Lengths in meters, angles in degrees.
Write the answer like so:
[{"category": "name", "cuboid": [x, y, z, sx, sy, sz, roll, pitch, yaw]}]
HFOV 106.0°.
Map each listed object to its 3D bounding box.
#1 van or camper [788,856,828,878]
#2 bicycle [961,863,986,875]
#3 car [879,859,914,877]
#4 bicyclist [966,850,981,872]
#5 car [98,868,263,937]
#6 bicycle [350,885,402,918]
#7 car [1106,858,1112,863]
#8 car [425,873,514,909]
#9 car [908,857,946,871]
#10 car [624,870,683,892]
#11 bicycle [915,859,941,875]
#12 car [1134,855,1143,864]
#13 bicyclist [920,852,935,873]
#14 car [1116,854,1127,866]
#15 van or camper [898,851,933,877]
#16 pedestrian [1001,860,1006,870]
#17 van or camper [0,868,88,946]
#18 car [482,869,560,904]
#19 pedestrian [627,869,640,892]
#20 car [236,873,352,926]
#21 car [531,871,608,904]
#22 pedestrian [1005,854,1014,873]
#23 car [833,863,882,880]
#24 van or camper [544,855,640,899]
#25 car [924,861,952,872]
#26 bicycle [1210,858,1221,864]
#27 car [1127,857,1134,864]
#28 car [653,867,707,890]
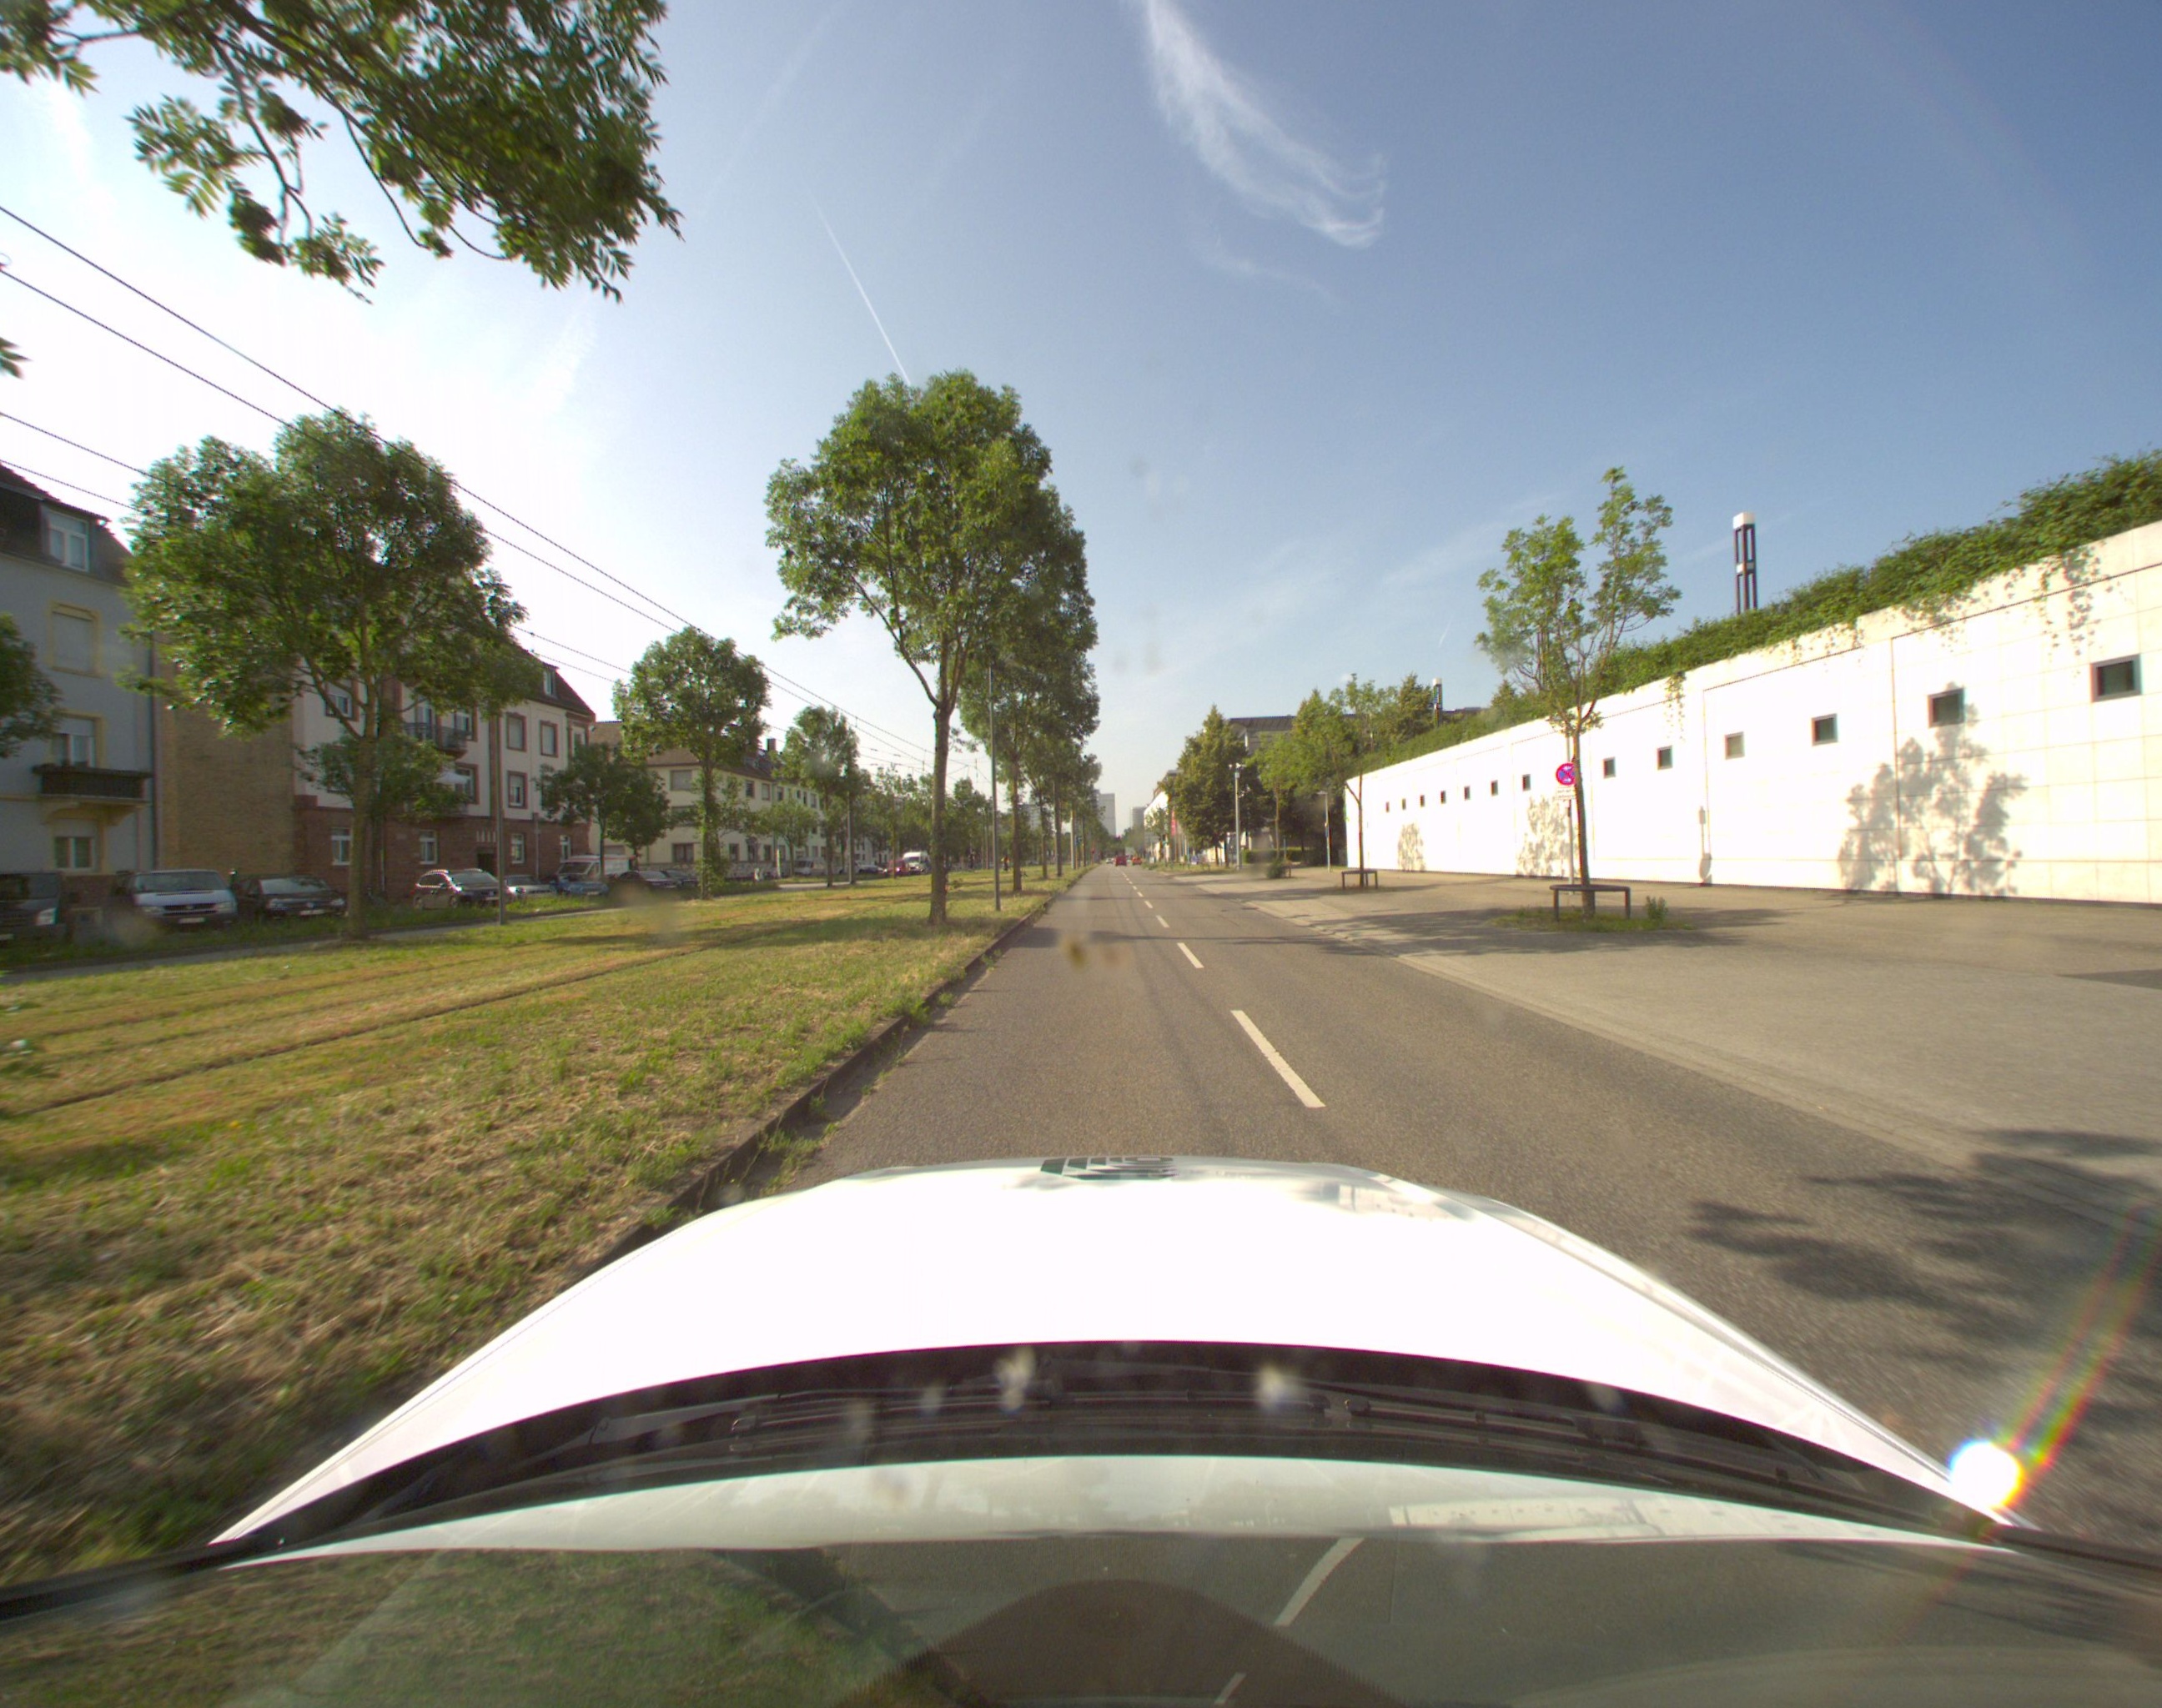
[{"category": "van or camper", "cuboid": [-29.724, 1.392, 88.791, 1.985, 2.328, 5.833, 0, -1, 4]}, {"category": "bicycle", "cuboid": [-9.453, 1.342, 71.703, 2.080, 1.042, 0.661, 1, -1, -31]}, {"category": "car", "cuboid": [-17.609, 1.337, 77.953, 1.955, 1.694, 4.303, 0, -1, 5]}, {"category": "bicyclist", "cuboid": [-9.459, 0.585, 71.721, 1.154, 1.934, 0.679, 1, -1, -31]}, {"category": "car", "cuboid": [-24.282, 1.203, 21.916, 5.155, 1.623, 2.069, 0, -1, 32]}, {"category": "bicycle", "cuboid": [-25.031, 1.670, 28.963, 0.465, 1.049, 1.994, 1, -1, -12]}, {"category": "car", "cuboid": [8.260, 1.922, 237.252, 1.741, 1.650, 3.218, 0, -1, 3]}, {"category": "car", "cuboid": [-24.494, 1.446, 32.602, 3.948, 1.269, 1.649, 0, -1, 34]}, {"category": "car", "cuboid": [-21.789, 1.394, 115.393, 5.169, 2.014, 1.888, 0, -1, 27]}, {"category": "car", "cuboid": [-23.369, 1.459, 44.488, 3.124, 1.161, 1.506, 0, -1, 34]}, {"category": "bicycle", "cuboid": [-13.066, 1.115, 69.529, 2.076, 1.324, 0.777, 1, -1, -25]}, {"category": "car", "cuboid": [11.123, 1.116, 157.153, 1.741, 1.650, 3.218, 0, -1, 3]}, {"category": "bicyclist", "cuboid": [-13.090, 0.719, 69.514, 1.152, 1.762, 0.680, 1, -1, -25]}, {"category": "car", "cuboid": [6.841, 1.045, 137.441, 1.741, 2.014, 3.218, 0, -1, 3]}, {"category": "van or camper", "cuboid": [-17.192, 1.031, 84.926, 2.195, 2.531, 6.031, 0, -1, 1]}, {"category": "pedestrian", "cuboid": [-6.730, 0.928, 70.492, 0.339, 0.875, 0.461, 0, -1, 2]}, {"category": "van or camper", "cuboid": [-25.213, 1.172, 19.093, 4.788, 1.623, 2.015, 0, -1, 34]}, {"category": "car", "cuboid": [-24.418, 1.389, 35.467, 3.948, 1.417, 1.587, 0, -1, 36]}, {"category": "pedestrian", "cuboid": [-32.462, 1.923, 59.106, 0.579, 1.665, 0.620, 0, -1, 5]}, {"category": "car", "cuboid": [-24.320, 1.343, 25.123, 4.419, 1.419, 1.987, 0, -1, 39]}, {"category": "car", "cuboid": [-23.743, 1.531, 37.761, 3.948, 1.417, 1.587, 0, -1, 35]}, {"category": "pedestrian", "cuboid": [-6.186, 0.818, 70.398, 0.622, 1.572, 0.711, 0, -1, 2]}, {"category": "car", "cuboid": [-23.015, 1.765, 83.750, 5.258, 1.738, 2.013, 0, -1, 35]}, {"category": "van or camper", "cuboid": [-30.460, 1.374, 51.079, 2.032, 2.567, 6.358, 0, -1, 1]}, {"category": "car", "cuboid": [-21.246, 1.847, 121.233, 3.950, 1.530, 1.472, 0, -1, 27]}, {"category": "bicycle", "cuboid": [19.512, 1.011, 118.192, 1.616, 0.888, 0.551, 0, -1, 0]}, {"category": "car", "cuboid": [12.802, 1.686, 211.270, 1.741, 1.650, 3.218, 0, -1, 3]}, {"category": "car", "cuboid": [-23.710, 1.432, 48.122, 3.124, 1.326, 1.506, 0, -1, 35]}]
